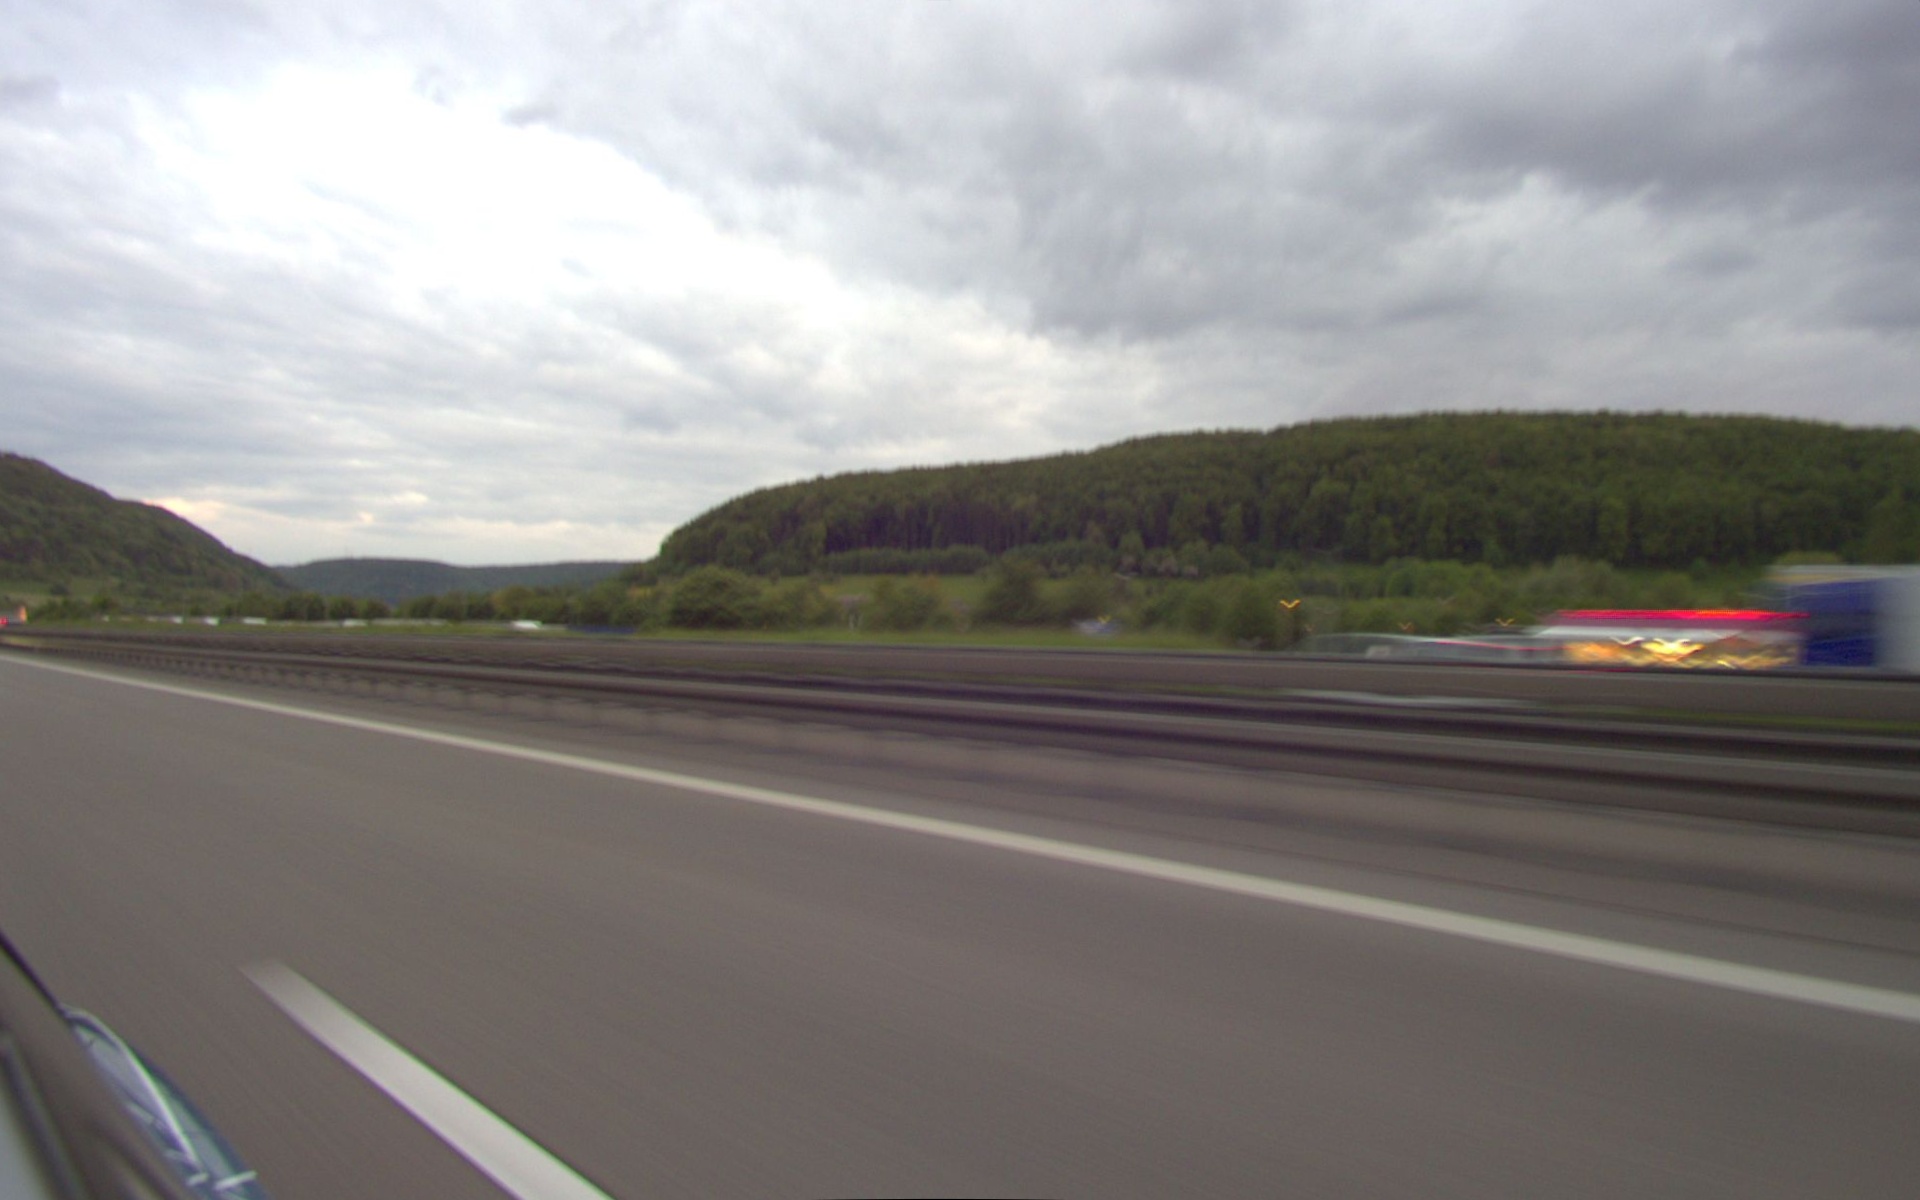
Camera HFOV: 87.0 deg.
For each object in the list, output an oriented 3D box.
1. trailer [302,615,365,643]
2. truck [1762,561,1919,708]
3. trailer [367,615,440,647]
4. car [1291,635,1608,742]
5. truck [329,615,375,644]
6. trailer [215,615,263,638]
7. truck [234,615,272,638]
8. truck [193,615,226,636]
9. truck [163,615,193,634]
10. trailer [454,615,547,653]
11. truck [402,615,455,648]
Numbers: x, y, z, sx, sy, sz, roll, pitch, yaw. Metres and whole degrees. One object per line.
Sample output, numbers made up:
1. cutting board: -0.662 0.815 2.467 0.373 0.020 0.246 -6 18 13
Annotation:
1. trailer: -71.921 3.356 115.985 11.721 3.076 2.843 -1 -3 42
2. truck: 23.679 0.799 23.944 7.173 3.401 2.842 -1 -2 42
3. trailer: -56.608 3.141 102.786 11.156 3.112 2.837 -1 -2 42
4. car: 8.588 1.451 18.033 4.738 1.605 1.972 -1 -2 42
5. truck: -67.247 3.269 111.928 5.302 3.112 2.837 -1 -2 41
6. trailer: -102.550 3.744 143.875 12.480 3.112 2.837 -1 -2 42
7. truck: -97.168 3.673 139.052 5.891 3.112 2.837 -1 -2 42
8. truck: -114.277 3.890 154.123 5.891 3.112 2.837 -1 -2 42
9. truck: -129.875 4.094 168.031 5.891 3.112 2.837 -1 -2 42
10. trailer: -40.472 2.944 88.836 11.150 3.112 2.838 -1 -2 40
11. truck: -51.692 3.076 98.379 5.302 3.112 2.837 -1 -2 41
